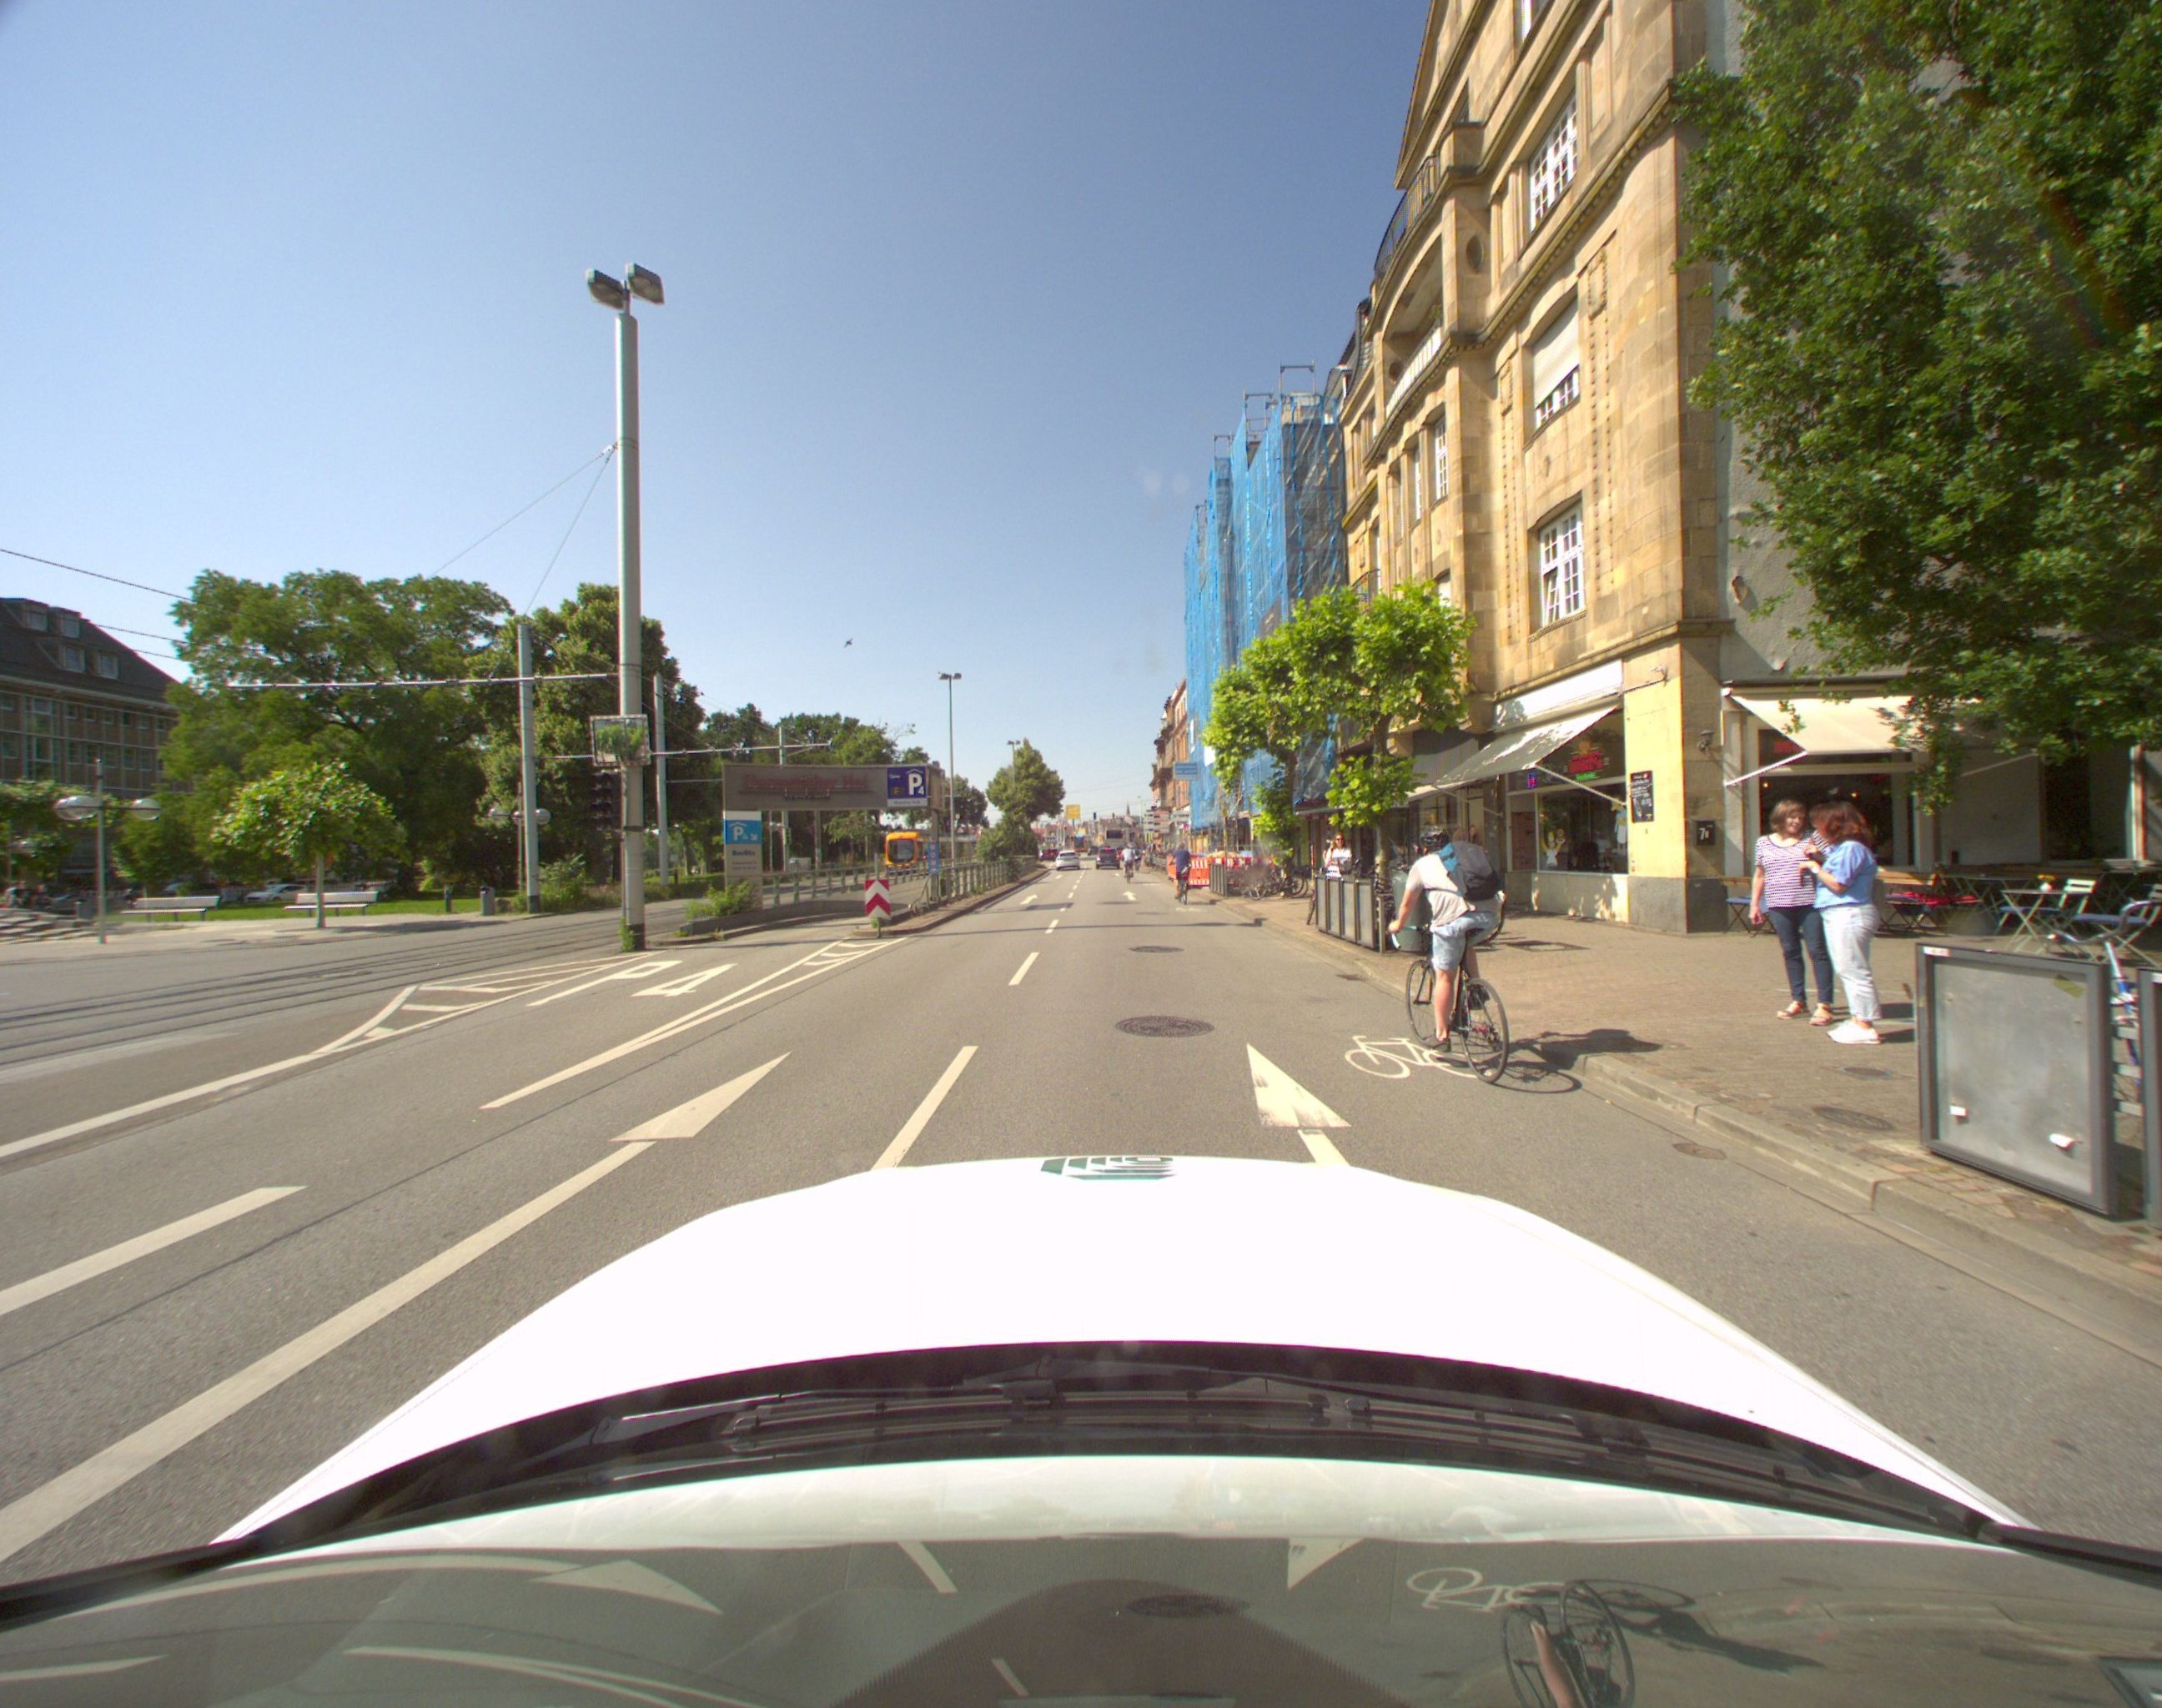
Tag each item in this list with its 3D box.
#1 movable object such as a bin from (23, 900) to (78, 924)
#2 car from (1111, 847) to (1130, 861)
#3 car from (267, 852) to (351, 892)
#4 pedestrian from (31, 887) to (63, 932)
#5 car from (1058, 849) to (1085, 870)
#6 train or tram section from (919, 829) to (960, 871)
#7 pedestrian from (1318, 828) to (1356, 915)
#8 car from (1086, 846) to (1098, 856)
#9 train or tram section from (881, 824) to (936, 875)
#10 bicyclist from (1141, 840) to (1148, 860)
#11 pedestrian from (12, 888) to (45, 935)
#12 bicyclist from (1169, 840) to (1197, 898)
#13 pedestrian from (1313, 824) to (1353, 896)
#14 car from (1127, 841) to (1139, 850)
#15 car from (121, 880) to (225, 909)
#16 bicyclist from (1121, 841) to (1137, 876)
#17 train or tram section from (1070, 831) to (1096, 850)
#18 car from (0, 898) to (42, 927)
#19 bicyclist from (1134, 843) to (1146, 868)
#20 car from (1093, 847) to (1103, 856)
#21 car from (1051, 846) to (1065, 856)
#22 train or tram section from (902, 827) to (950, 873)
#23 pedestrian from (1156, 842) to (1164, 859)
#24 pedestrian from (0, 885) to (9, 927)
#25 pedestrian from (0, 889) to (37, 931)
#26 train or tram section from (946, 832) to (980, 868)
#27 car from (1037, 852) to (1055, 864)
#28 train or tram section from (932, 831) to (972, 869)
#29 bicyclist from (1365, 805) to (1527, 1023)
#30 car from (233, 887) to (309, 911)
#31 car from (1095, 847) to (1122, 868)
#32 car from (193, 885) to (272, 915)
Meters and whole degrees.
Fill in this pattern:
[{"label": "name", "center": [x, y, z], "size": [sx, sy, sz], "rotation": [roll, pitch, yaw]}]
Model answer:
[{"label": "movable object such as a bin", "center": [-36.859, 2.069, 29.132], "size": [0.903, 0.754, 0.800], "rotation": [-4, 1, 1]}, {"label": "car", "center": [4.277, -0.024, 88.860], "size": [1.986, 1.492, 4.002], "rotation": [0, 0, 2]}, {"label": "car", "center": [-67.683, 1.530, 71.576], "size": [2.119, 3.316, 5.420], "rotation": [0, 0, 1]}, {"label": "pedestrian", "center": [-38.384, 2.065, 30.240], "size": [0.413, 1.609, 0.493], "rotation": [-4, 1, -8]}, {"label": "car", "center": [-0.687, 0.382, 61.072], "size": [1.851, 1.507, 4.002], "rotation": [0, 0, 2]}, {"label": "train or tram section", "center": [-12.515, -0.359, 72.604], "size": [2.604, 3.581, 5.358], "rotation": [0, 0, 1]}, {"label": "pedestrian", "center": [5.077, 0.350, 16.148], "size": [0.651, 1.683, 0.656], "rotation": [-2, -1, 19]}, {"label": "car", "center": [1.664, -0.423, 118.114], "size": [1.444, 1.300, 3.347], "rotation": [0, 0, 5]}, {"label": "train or tram section", "center": [-12.774, -0.322, 60.794], "size": [2.604, 3.581, 6.105], "rotation": [0, 0, 1]}, {"label": "bicyclist", "center": [6.129, -0.398, 78.653], "size": [0.686, 1.962, 0.778], "rotation": [0, 0, 0]}, {"label": "pedestrian", "center": [-37.916, 2.062, 29.346], "size": [0.450, 1.609, 0.466], "rotation": [-4, 1, 1]}, {"label": "bicyclist", "center": [2.915, 0.430, 23.246], "size": [0.686, 1.616, 0.918], "rotation": [0, 0, 0]}, {"label": "pedestrian", "center": [6.688, 0.157, 21.657], "size": [0.809, 1.848, 0.893], "rotation": [-3, -1, 9]}, {"label": "car", "center": [11.341, -1.858, 177.886], "size": [1.980, 1.877, 4.014], "rotation": [-2, 0, 13]}, {"label": "car", "center": [-60.946, 2.673, 54.810], "size": [1.752, 1.663, 4.836], "rotation": [0, 0, -4]}, {"label": "bicyclist", "center": [2.215, 0.196, 37.874], "size": [0.686, 1.576, 1.049], "rotation": [0, 0, 0]}, {"label": "train or tram section", "center": [0.418, -2.507, 159.621], "size": [2.802, 3.581, 10.070], "rotation": [0, 0, 14]}, {"label": "car", "center": [-61.161, 3.300, 45.272], "size": [1.752, 1.508, 3.994], "rotation": [0, 0, -4]}, {"label": "bicyclist", "center": [3.733, 0.079, 51.364], "size": [0.686, 1.576, 1.049], "rotation": [0, 0, 0]}, {"label": "car", "center": [2.665, -0.399, 127.968], "size": [1.446, 1.300, 3.344], "rotation": [0, 0, 2]}, {"label": "car", "center": [-2.901, -0.371, 102.675], "size": [1.446, 1.300, 4.002], "rotation": [0, 0, 2]}, {"label": "train or tram section", "center": [-12.641, -0.341, 66.864], "size": [2.604, 3.581, 6.105], "rotation": [0, 0, 1]}, {"label": "pedestrian", "center": [7.996, -0.376, 82.330], "size": [0.652, 1.620, 0.815], "rotation": [-2, 1, 0]}, {"label": "pedestrian", "center": [-41.061, 1.983, 30.647], "size": [0.492, 1.609, 0.619], "rotation": [-4, 1, -9]}, {"label": "pedestrian", "center": [-40.329, 2.112, 30.889], "size": [0.524, 1.493, 0.660], "rotation": [-4, 1, -7]}, {"label": "train or tram section", "center": [-12.280, -0.398, 85.165], "size": [2.604, 3.581, 6.018], "rotation": [0, 0, 1]}, {"label": "car", "center": [-3.978, 0.427, 92.992], "size": [1.808, 1.332, 4.002], "rotation": [0, 0, 2]}, {"label": "train or tram section", "center": [-12.395, -0.378, 78.731], "size": [2.604, 3.581, 6.899], "rotation": [0, 0, 1]}, {"label": "bicyclist", "center": [2.651, 0.402, 6.037], "size": [0.686, 1.463, 1.143], "rotation": [0, 0, 0]}, {"label": "car", "center": [-59.083, 3.262, 59.518], "size": [1.752, 1.508, 3.994], "rotation": [0, 0, -4]}, {"label": "car", "center": [2.047, 0.236, 60.152], "size": [1.866, 1.492, 4.002], "rotation": [0, 0, 2]}, {"label": "car", "center": [-63.004, 3.364, 60.576], "size": [1.986, 2.013, 3.644], "rotation": [0, 0, 1]}]
